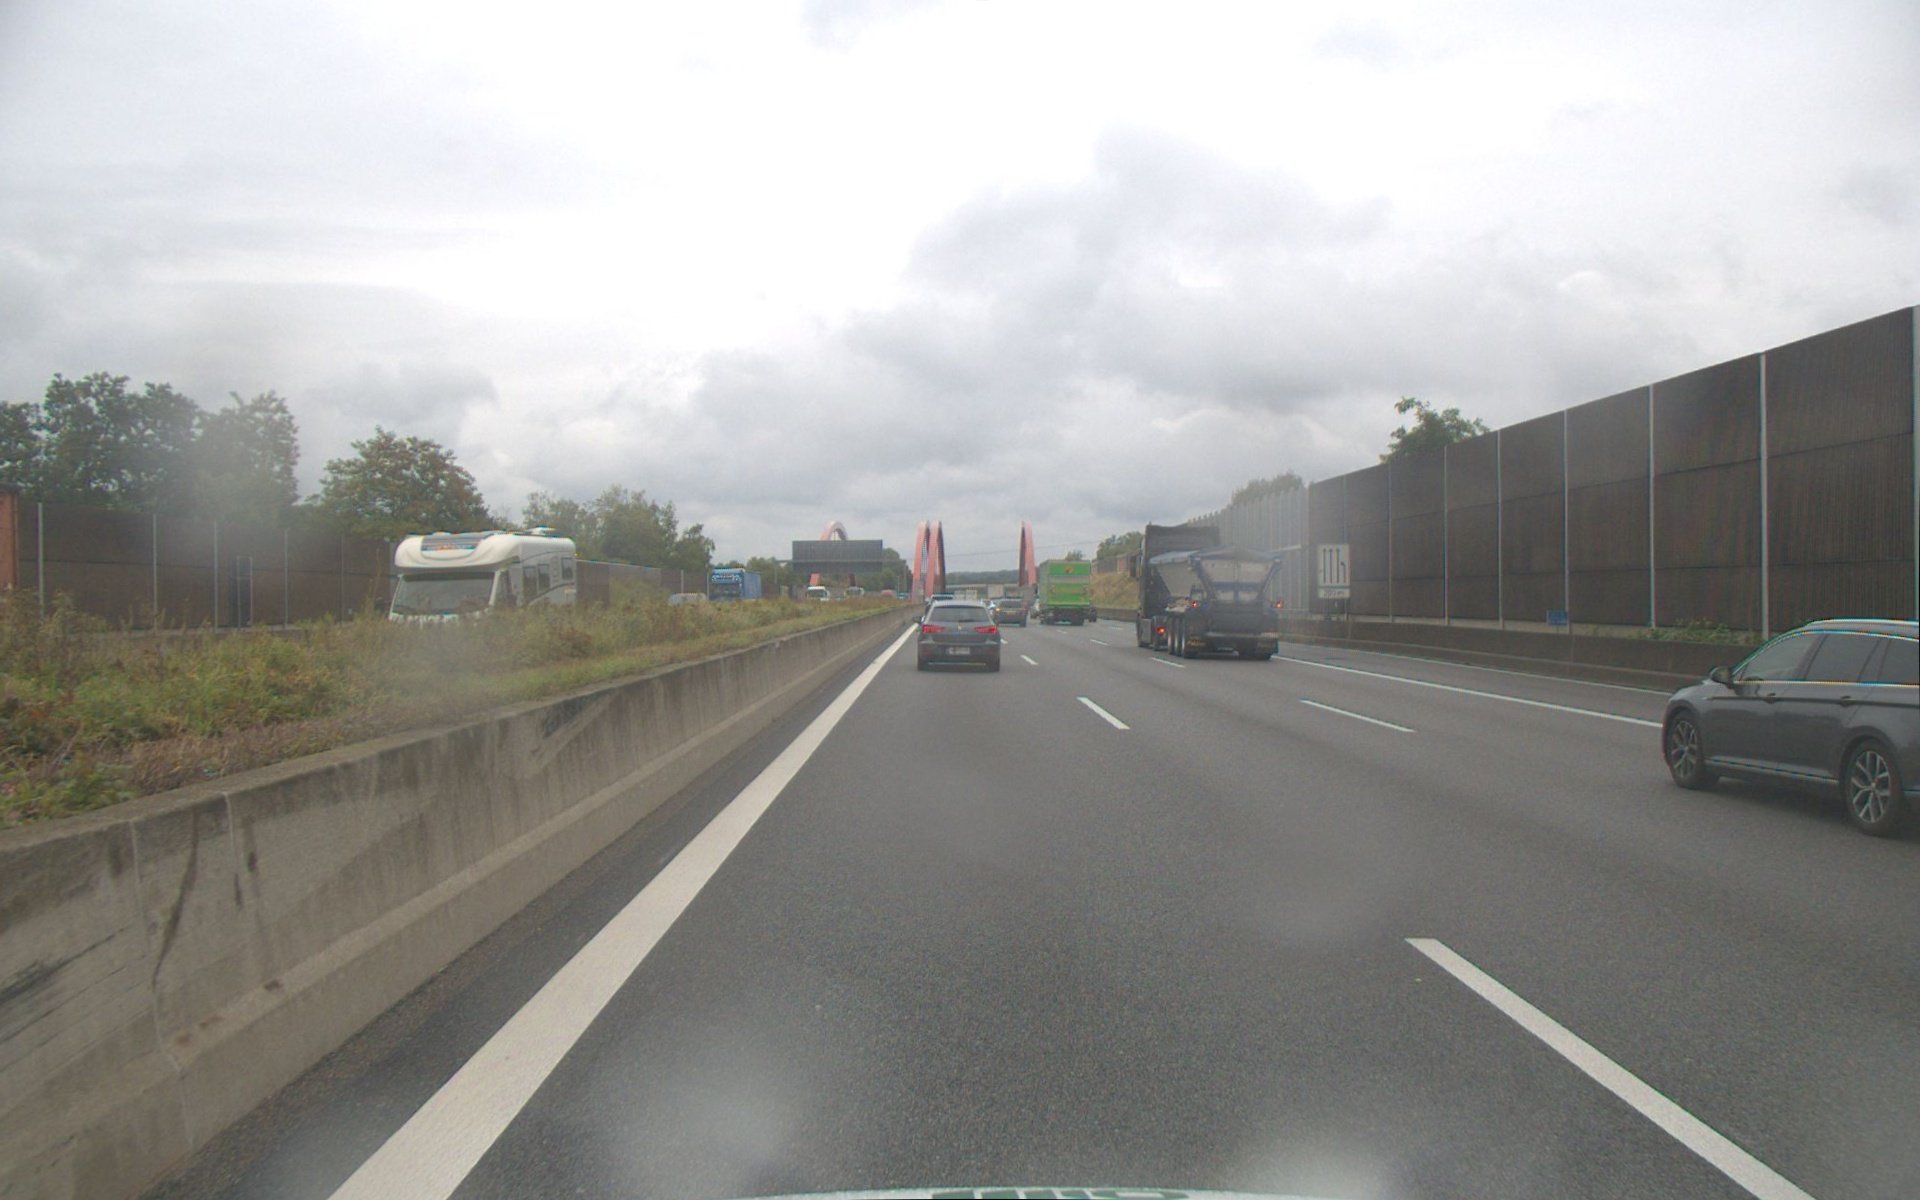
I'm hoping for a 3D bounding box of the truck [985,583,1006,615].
[{"bbox_3d":[5.418,-0.162,251.661,2.982,4.817,7.679,1,0,0],"label":"truck"}]

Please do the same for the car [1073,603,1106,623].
[{"bbox_3d":[9.206,0.926,118.000,1.953,1.378,3.999,0,0,-1],"label":"car"}]

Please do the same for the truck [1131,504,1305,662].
[{"bbox_3d":[7.304,-0.428,48.949,3.026,4.019,12.943,-1,0,0],"label":"truck"}]

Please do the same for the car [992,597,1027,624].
[{"bbox_3d":[2.658,0.541,89.823,1.745,1.431,3.626,1,0,0],"label":"car"}]

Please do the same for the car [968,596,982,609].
[{"bbox_3d":[2.152,0.321,236.507,1.953,1.847,4.000,1,0,0],"label":"car"}]

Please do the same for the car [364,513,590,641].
[{"bbox_3d":[-9.351,-0.393,32.943,2.325,2.231,7.722,0,0,-1],"label":"car"}]

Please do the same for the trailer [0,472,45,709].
[{"bbox_3d":[-16.499,-0.126,21.200,2.671,3.748,12.561,0,0,-1],"label":"trailer"}]

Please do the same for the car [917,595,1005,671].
[{"bbox_3d":[0.039,0.656,34.604,1.727,1.478,4.000,1,0,0],"label":"car"}]

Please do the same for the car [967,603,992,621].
[{"bbox_3d":[1.582,1.002,137.712,1.953,1.378,3.999,-1,0,-1],"label":"car"}]

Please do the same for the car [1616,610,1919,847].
[{"bbox_3d":[7.044,0.864,12.548,1.900,1.452,5.287,2,0,-1],"label":"car"}]

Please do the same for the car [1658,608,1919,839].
[{"bbox_3d":[6.965,0.821,12.198,1.629,1.482,4.469,1,0,-1],"label":"car"}]

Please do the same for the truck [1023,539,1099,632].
[{"bbox_3d":[6.098,-0.833,102.097,3.915,5.358,11.219,1,0,0],"label":"truck"}]

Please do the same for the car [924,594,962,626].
[{"bbox_3d":[-0.912,0.511,88.099,1.953,1.612,3.999,0,0,-1],"label":"car"}]

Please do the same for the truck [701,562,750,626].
[{"bbox_3d":[-18.586,-0.466,131.323,3.124,4.943,5.417,1,0,-2],"label":"truck"}]

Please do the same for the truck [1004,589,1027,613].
[{"bbox_3d":[6.223,0.096,185.991,2.313,2.550,6.144,1,0,0],"label":"truck"}]

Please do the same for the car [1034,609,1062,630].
[{"bbox_3d":[7.211,1.586,136.347,1.953,1.647,5.327,1,0,-1],"label":"car"}]

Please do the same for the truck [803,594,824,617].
[{"bbox_3d":[-20.169,0.728,227.687,2.569,3.072,5.609,1,0,-3],"label":"truck"}]

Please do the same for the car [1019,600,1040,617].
[{"bbox_3d":[7.116,0.818,169.630,1.917,1.676,3.999,1,0,-1],"label":"car"}]

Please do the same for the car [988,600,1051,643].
[{"bbox_3d":[1.994,0.714,56.777,1.953,1.378,3.999,1,0,-1],"label":"car"}]
